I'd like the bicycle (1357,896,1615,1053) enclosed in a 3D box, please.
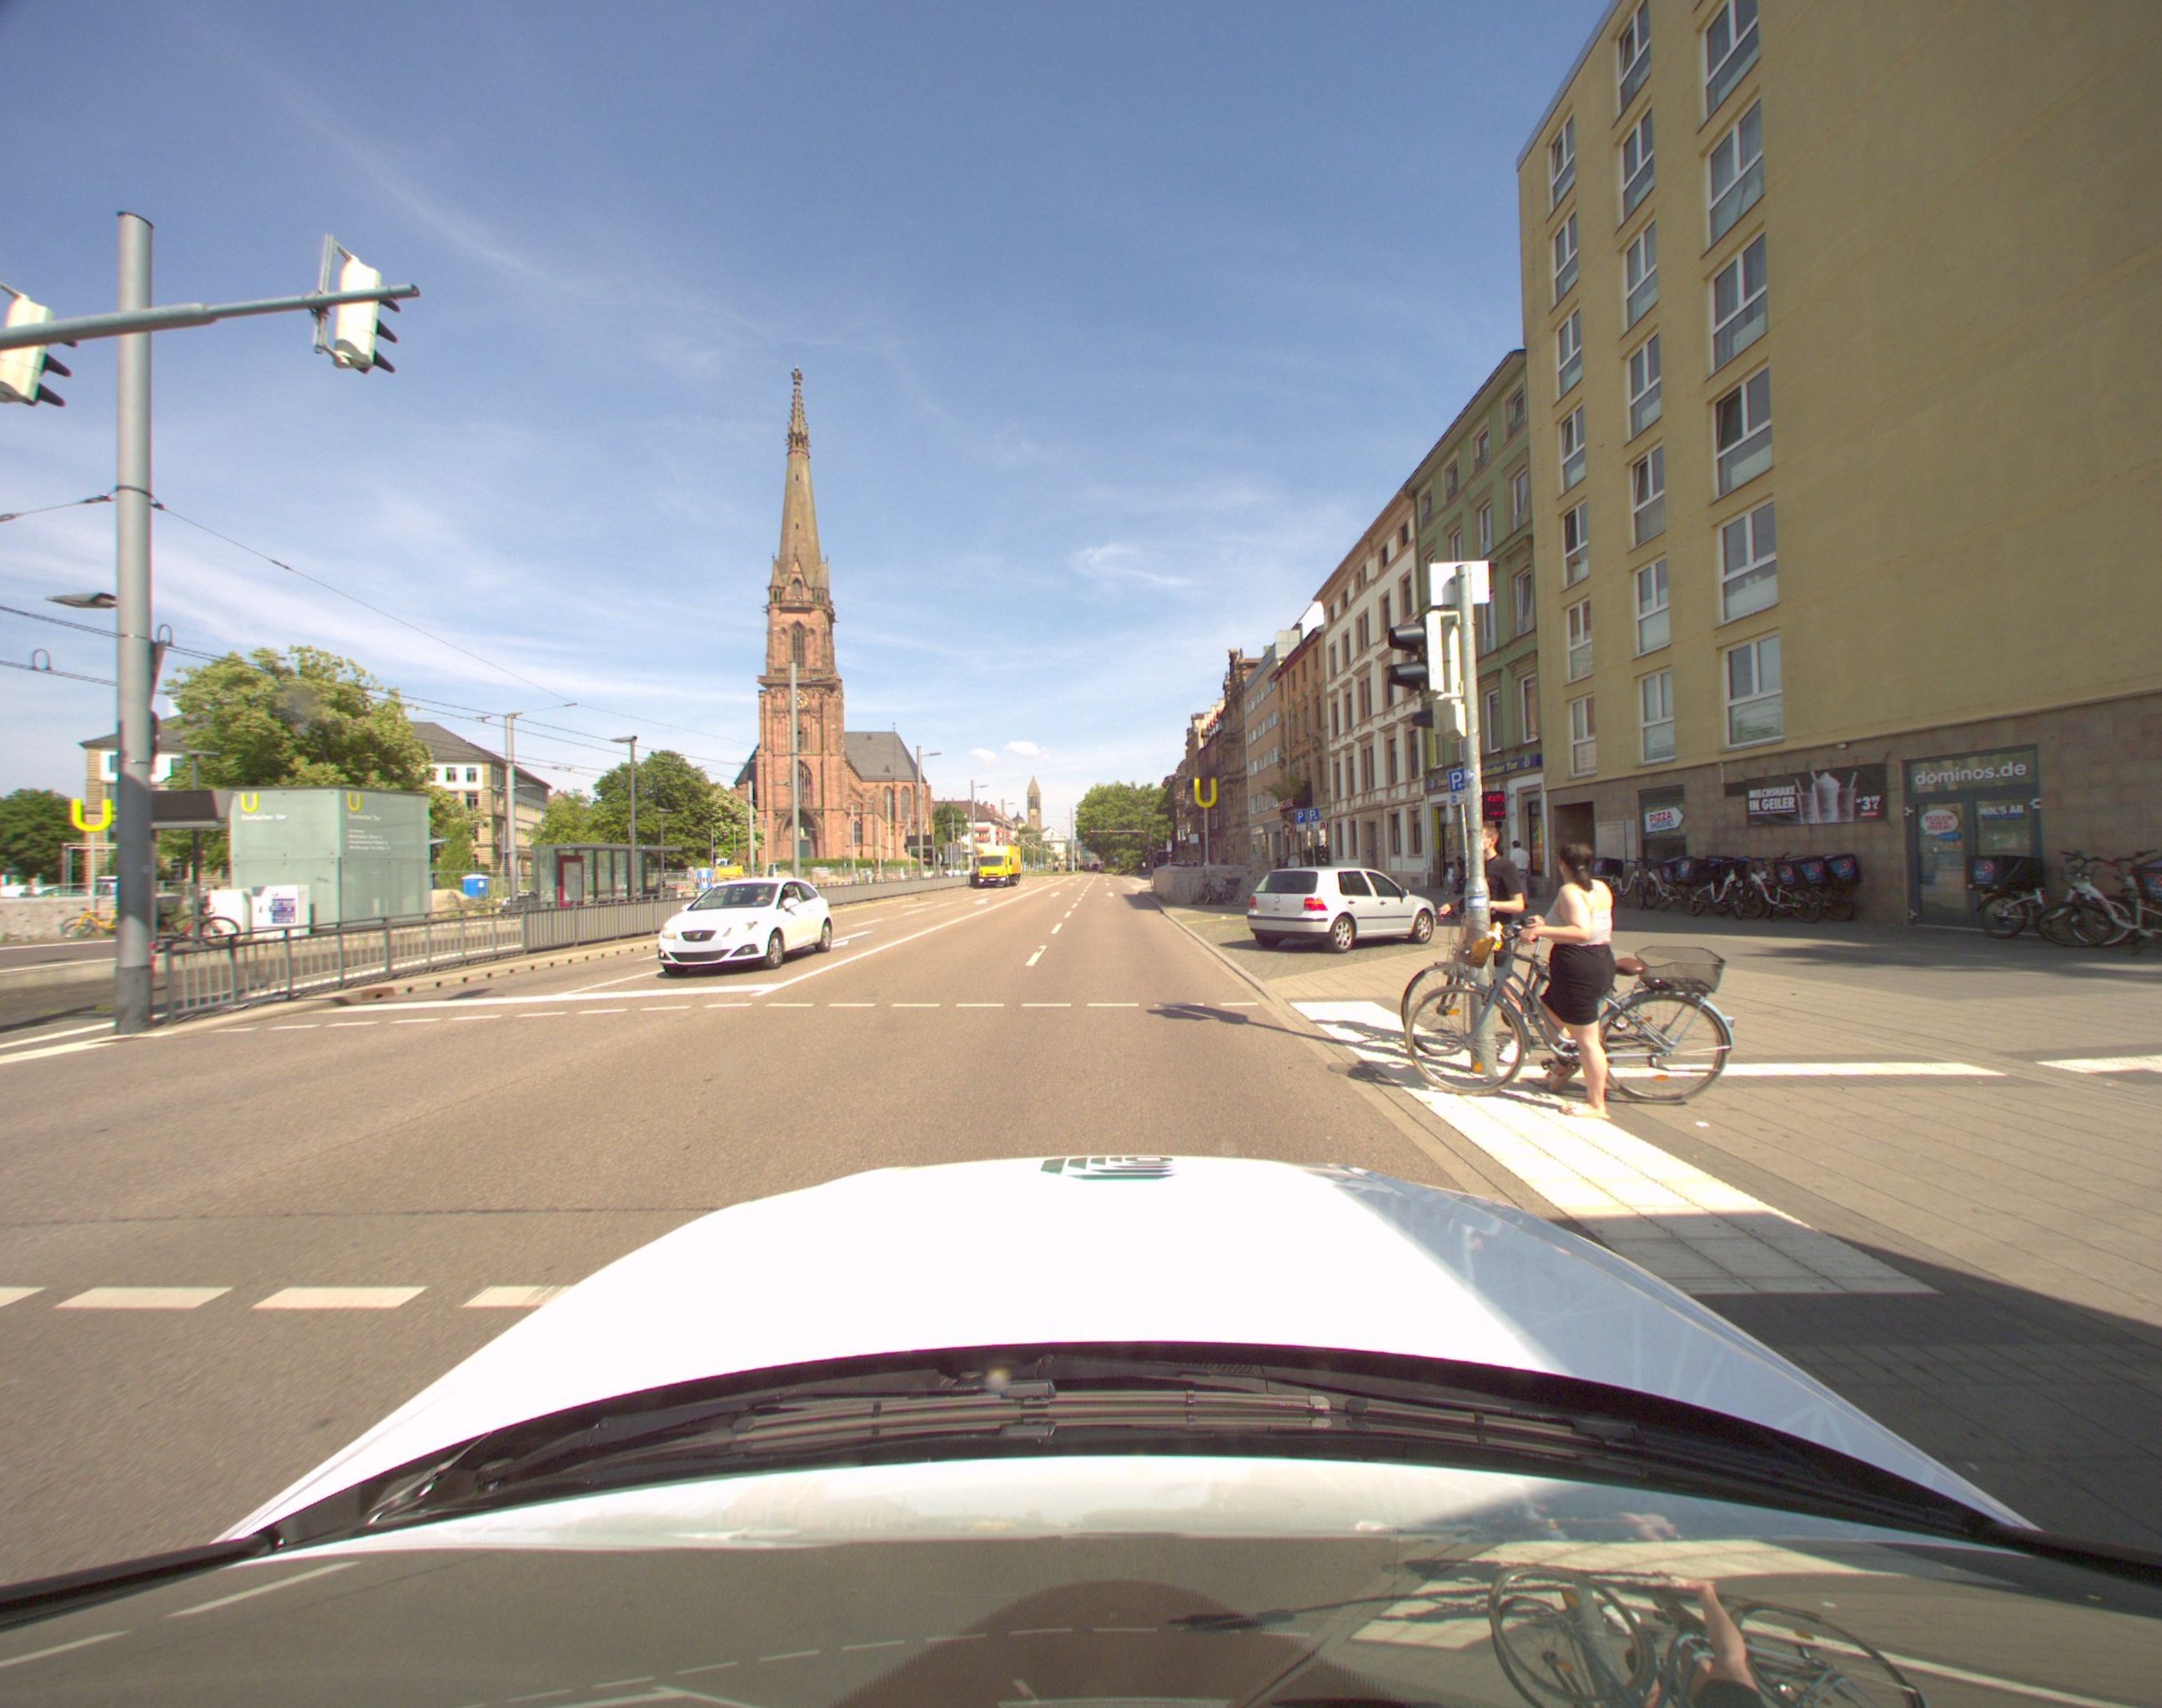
[{"bbox_3d":[3.212,0.927,6.530,1.788,1.130,0.583,-1,-1,-5],"label":"bicycle"}]

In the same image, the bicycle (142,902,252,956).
[{"bbox_3d":[-20.728,1.747,19.146,0.409,1.070,1.672,-3,1,20],"label":"bicycle"}]

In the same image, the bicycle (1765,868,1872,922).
[{"bbox_3d":[13.683,0.741,15.182,0.578,0.916,1.761,-3,-1,9],"label":"bicycle"}]

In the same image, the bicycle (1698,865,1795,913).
[{"bbox_3d":[13.694,0.692,16.833,0.580,0.916,1.757,-3,-1,2],"label":"bicycle"}]

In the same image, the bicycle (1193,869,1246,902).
[{"bbox_3d":[4.867,1.097,28.655,1.736,1.094,0.597,-2,0,1],"label":"bicycle"}]

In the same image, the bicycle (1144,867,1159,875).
[{"bbox_3d":[8.730,2.140,101.108,1.821,0.863,0.481,-1,1,-14],"label":"bicycle"}]

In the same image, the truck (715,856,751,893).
[{"bbox_3d":[-35.869,2.079,84.119,3.030,3.569,5.999,-2,-1,-21],"label":"truck"}]

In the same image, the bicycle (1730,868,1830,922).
[{"bbox_3d":[13.170,0.750,15.409,0.578,0.916,1.761,-3,-1,9],"label":"bicycle"}]

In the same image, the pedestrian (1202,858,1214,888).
[{"bbox_3d":[7.026,1.051,45.138,0.551,1.665,0.525,-2,-1,1],"label":"pedestrian"}]

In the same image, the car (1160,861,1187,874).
[{"bbox_3d":[14.514,2.110,128.000,3.970,1.749,2.002,-2,2,3],"label":"car"}]

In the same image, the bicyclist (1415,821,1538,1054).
[{"bbox_3d":[3.087,0.625,6.399,0.614,1.735,0.583,-1,-1,-5],"label":"bicyclist"}]

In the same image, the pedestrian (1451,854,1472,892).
[{"bbox_3d":[14.095,0.704,30.167,0.523,1.354,0.530,-2,-1,1],"label":"pedestrian"}]

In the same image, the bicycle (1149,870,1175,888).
[{"bbox_3d":[4.789,1.464,48.300,1.455,0.976,0.416,-2,1,1],"label":"bicycle"}]

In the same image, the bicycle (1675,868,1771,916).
[{"bbox_3d":[13.173,0.761,16.778,0.580,0.916,1.757,-3,-1,1],"label":"bicycle"}]

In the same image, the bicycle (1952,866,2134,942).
[{"bbox_3d":[13.464,0.668,11.486,0.579,0.965,1.760,-3,-1,7],"label":"bicycle"}]

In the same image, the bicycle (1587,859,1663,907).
[{"bbox_3d":[13.300,0.696,19.967,0.580,1.095,1.820,-4,-1,1],"label":"bicycle"}]

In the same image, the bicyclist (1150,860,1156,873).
[{"bbox_3d":[8.935,1.554,101.154,0.640,1.591,0.481,-1,1,-14],"label":"bicyclist"}]

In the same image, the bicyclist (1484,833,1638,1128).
[{"bbox_3d":[2.784,0.687,4.798,0.606,1.572,0.736,-1,-1,19],"label":"bicyclist"}]

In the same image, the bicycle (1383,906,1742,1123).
[{"bbox_3d":[2.840,0.911,5.051,1.776,1.130,0.758,-1,-1,19],"label":"bicycle"}]

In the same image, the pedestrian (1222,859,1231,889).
[{"bbox_3d":[8.046,1.091,44.958,0.370,1.665,0.525,-2,-1,1],"label":"pedestrian"}]

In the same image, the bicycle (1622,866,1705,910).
[{"bbox_3d":[13.325,0.758,18.683,0.580,0.927,1.757,-4,-1,1],"label":"bicycle"}]

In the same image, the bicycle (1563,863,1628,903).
[{"bbox_3d":[13.802,0.762,21.899,0.580,0.964,1.780,-4,-1,1],"label":"bicycle"}]

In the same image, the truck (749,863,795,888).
[{"bbox_3d":[-36.039,2.523,95.041,4.377,2.678,2.389,-2,-1,5],"label":"truck"}]

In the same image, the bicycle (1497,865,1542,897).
[{"bbox_3d":[13.992,0.838,26.021,0.411,0.964,1.780,-4,-1,1],"label":"bicycle"}]

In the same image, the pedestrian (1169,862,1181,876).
[{"bbox_3d":[8.784,1.413,75.926,0.944,1.325,0.822,-2,-1,-1],"label":"pedestrian"}]

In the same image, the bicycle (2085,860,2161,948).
[{"bbox_3d":[13.407,0.611,9.812,0.579,1.043,1.761,-3,-1,8],"label":"bicycle"}]

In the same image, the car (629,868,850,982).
[{"bbox_3d":[-5.427,1.045,13.609,1.748,1.398,4.126,-5,0,1],"label":"car"}]

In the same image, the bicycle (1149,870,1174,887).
[{"bbox_3d":[4.808,1.481,48.747,1.455,0.947,0.415,-2,-2,1],"label":"bicycle"}]

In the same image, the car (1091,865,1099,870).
[{"bbox_3d":[3.638,3.598,216.121,1.894,1.376,3.813,-2,-1,-1],"label":"car"}]

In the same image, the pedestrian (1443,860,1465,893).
[{"bbox_3d":[13.416,0.800,29.311,0.523,1.168,0.530,-2,-1,1],"label":"pedestrian"}]

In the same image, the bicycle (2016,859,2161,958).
[{"bbox_3d":[12.822,0.633,10.134,0.578,1.086,1.763,-5,-2,14],"label":"bicycle"}]

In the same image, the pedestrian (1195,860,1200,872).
[{"bbox_3d":[14.277,1.507,99.998,0.531,1.407,0.490,-2,1,-5],"label":"pedestrian"}]

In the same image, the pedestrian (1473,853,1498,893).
[{"bbox_3d":[14.264,0.679,28.720,0.523,1.374,0.647,-2,-1,1],"label":"pedestrian"}]

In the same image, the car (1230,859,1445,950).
[{"bbox_3d":[4.749,0.845,14.857,4.019,1.440,1.793,1,-1,-38],"label":"car"}]

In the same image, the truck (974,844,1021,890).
[{"bbox_3d":[-6.696,1.046,66.326,2.534,3.298,9.029,-4,-1,1],"label":"truck"}]

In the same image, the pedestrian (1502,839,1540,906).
[{"bbox_3d":[11.815,0.500,21.882,0.607,1.745,0.704,-2,-1,1],"label":"pedestrian"}]
